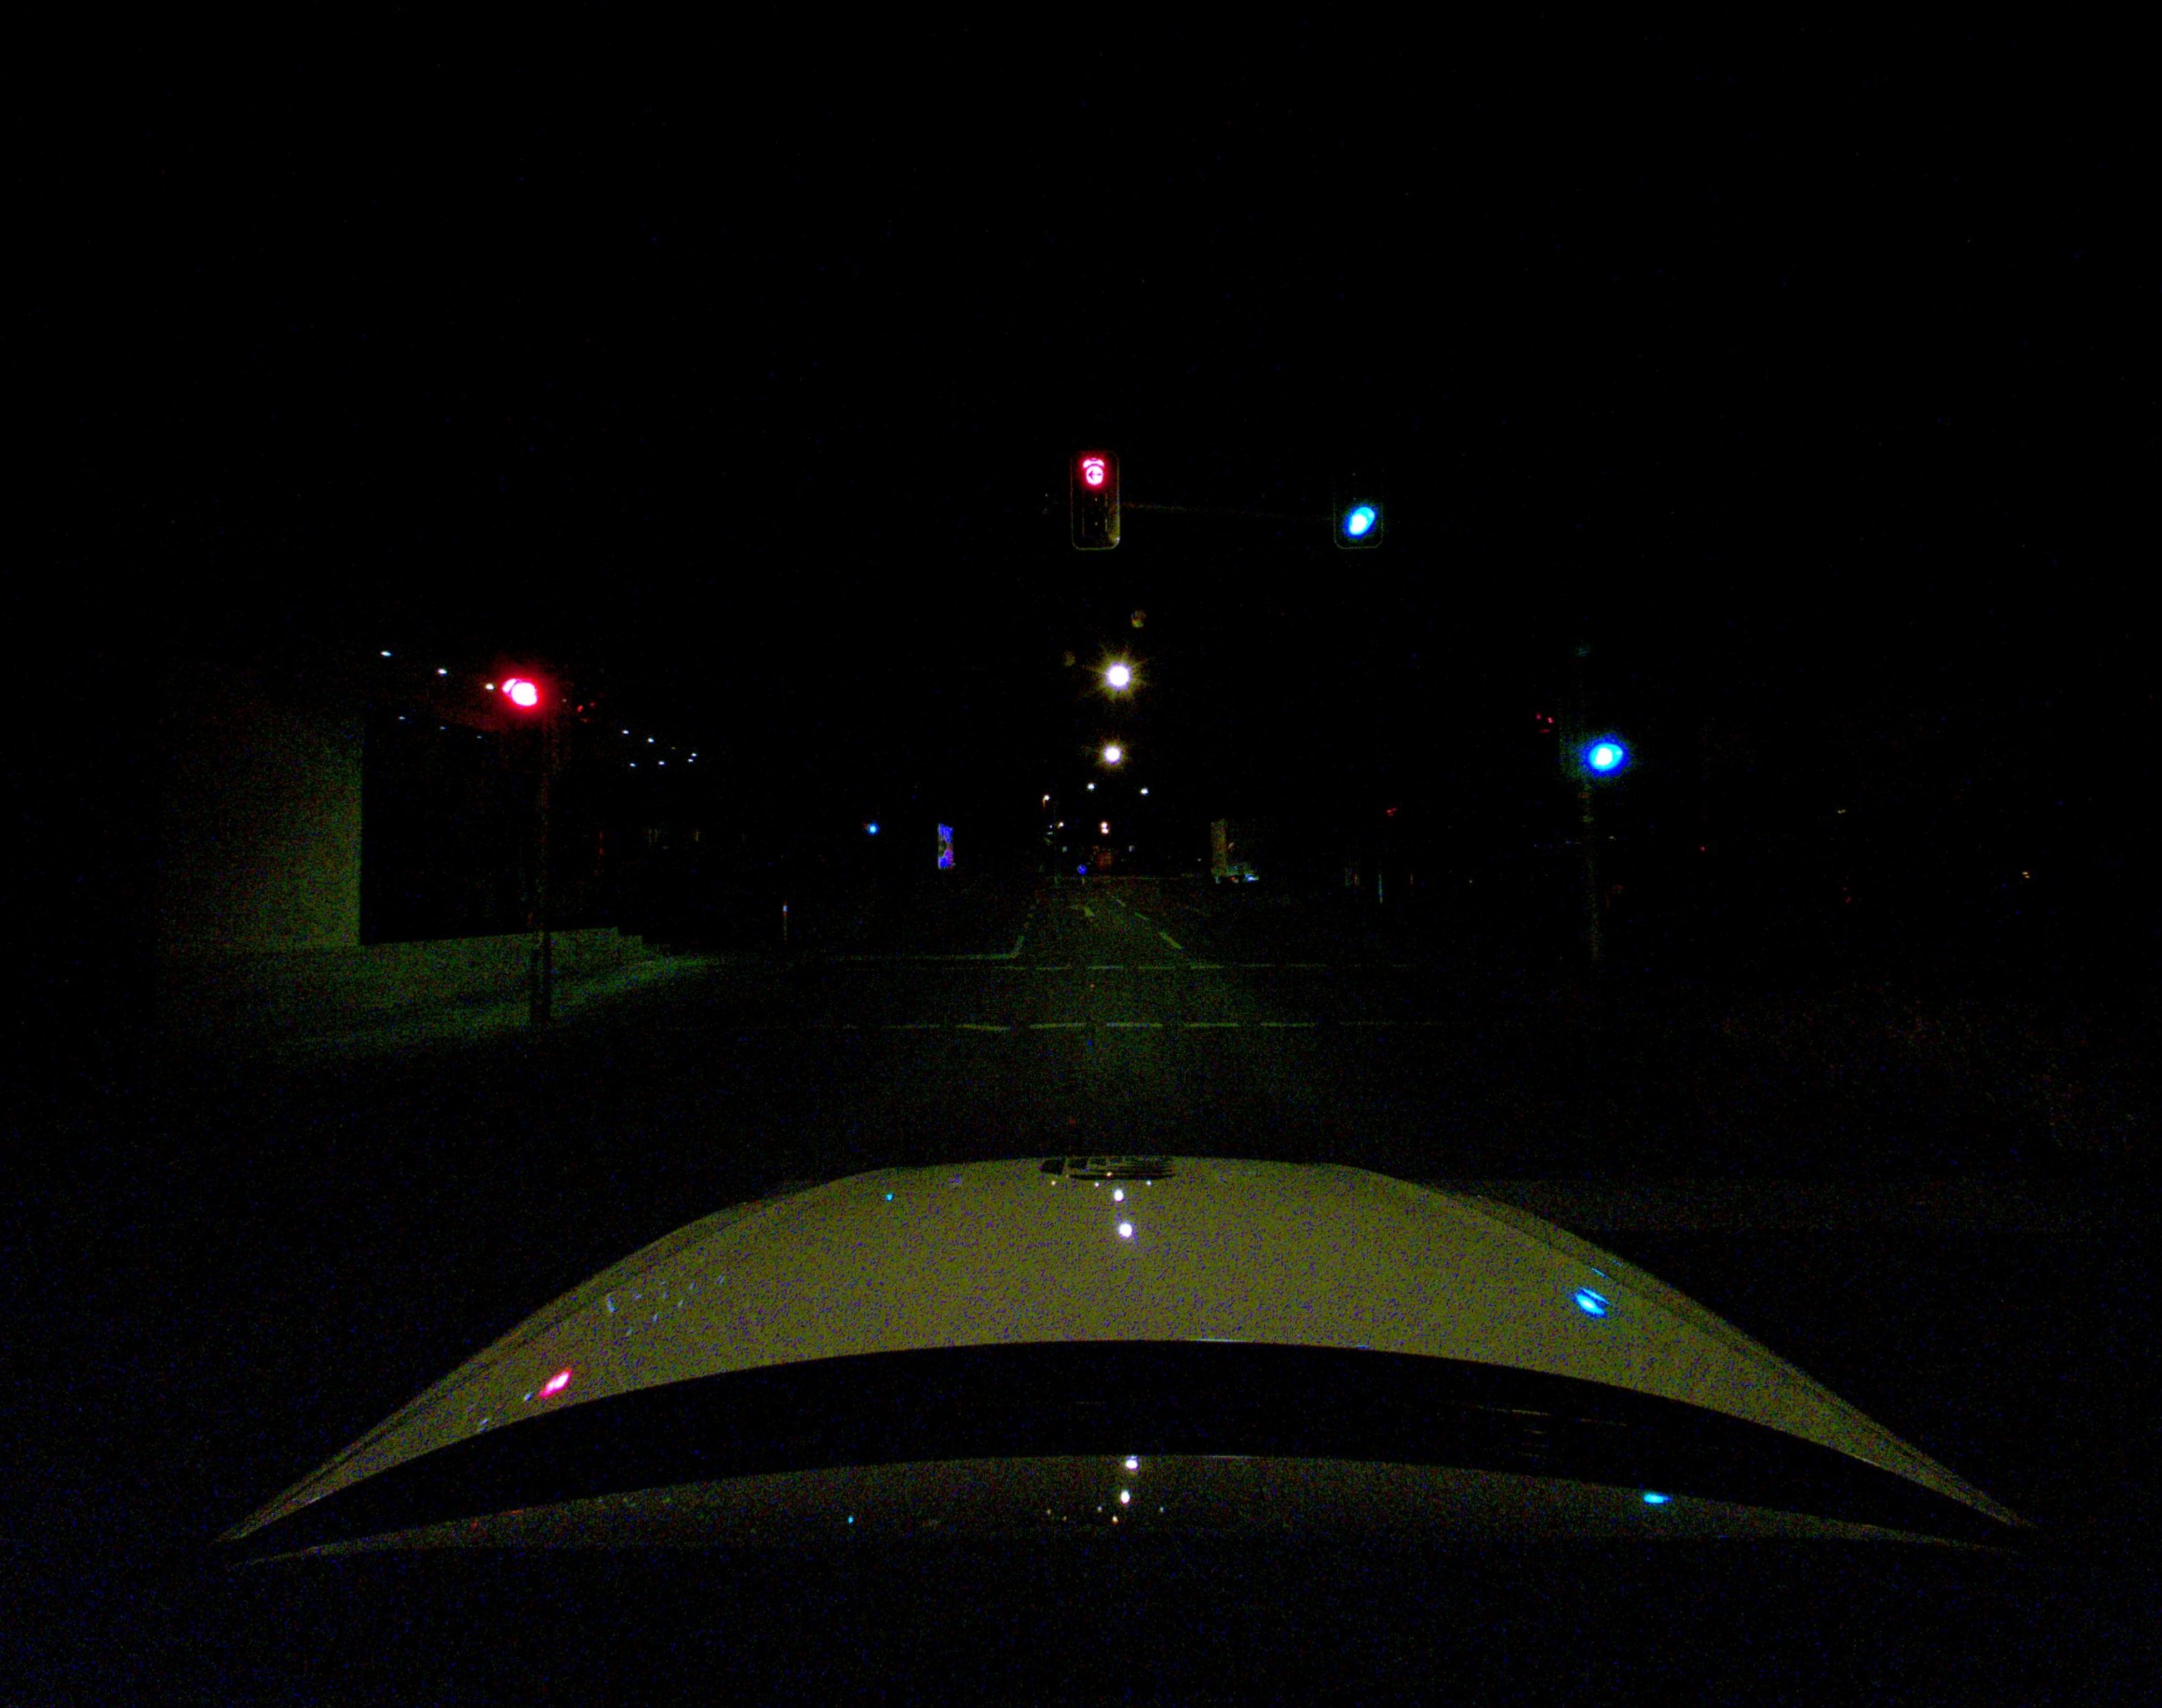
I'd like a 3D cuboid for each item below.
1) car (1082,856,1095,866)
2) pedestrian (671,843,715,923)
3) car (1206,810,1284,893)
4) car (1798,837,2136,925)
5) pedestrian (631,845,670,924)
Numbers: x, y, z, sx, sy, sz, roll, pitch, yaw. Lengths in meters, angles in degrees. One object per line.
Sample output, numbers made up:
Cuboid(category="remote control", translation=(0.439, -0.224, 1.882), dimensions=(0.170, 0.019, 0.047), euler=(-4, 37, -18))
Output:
Cuboid(category="car", translation=(1.243, 1.171, 134.542), dimensions=(1.901, 1.557, 3.906), euler=(0, -1, 2))
Cuboid(category="pedestrian", translation=(-8.798, 0.648, 18.495), dimensions=(0.568, 1.778, 0.737), euler=(1, -1, 1))
Cuboid(category="car", translation=(6.758, -0.079, 34.228), dimensions=(2.287, 3.093, 5.845), euler=(-2, -1, 3))
Cuboid(category="car", translation=(17.451, 0.563, 16.281), dimensions=(4.342, 1.560, 1.807), euler=(-2, -3, 8))
Cuboid(category="pedestrian", translation=(-9.523, 0.669, 18.042), dimensions=(0.568, 1.731, 0.544), euler=(0, -1, 1))
